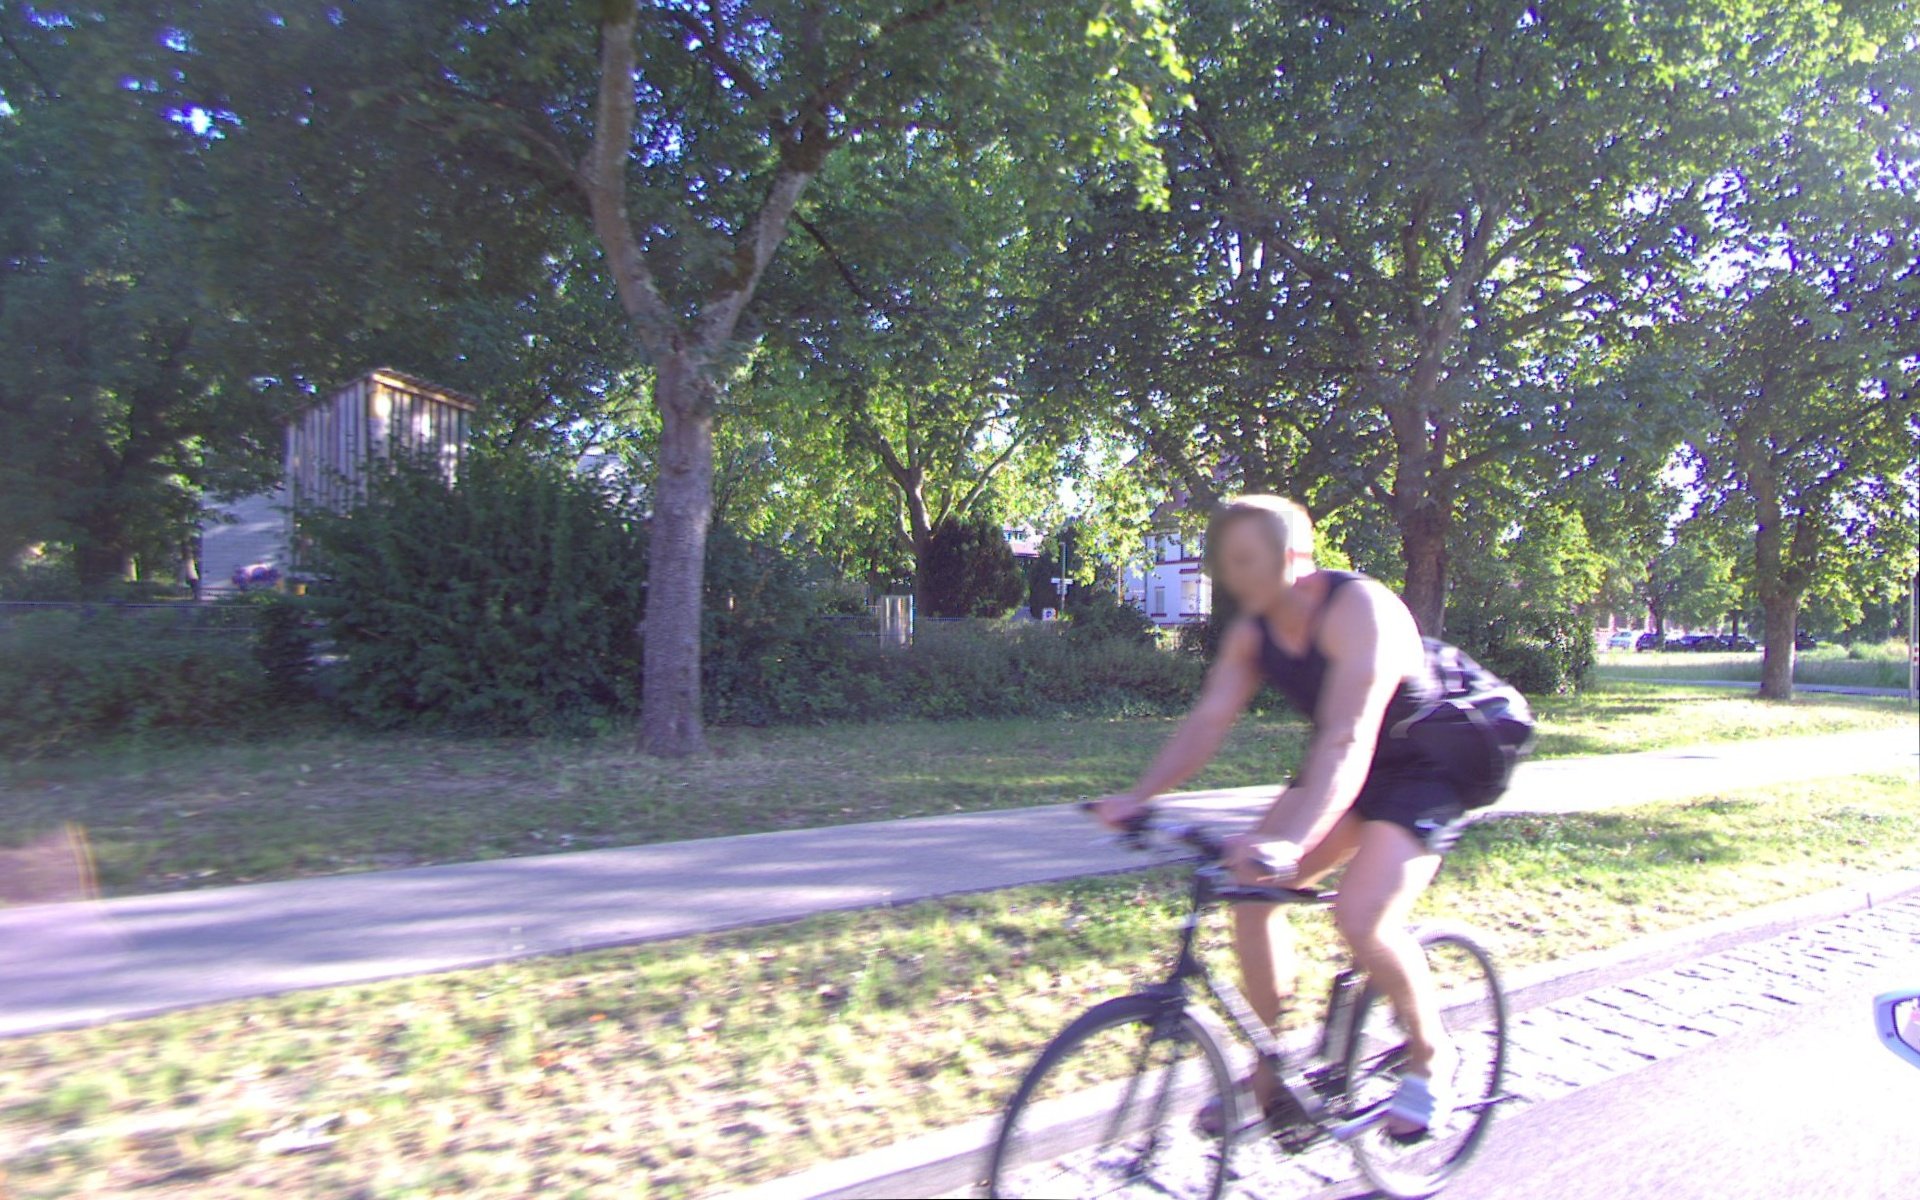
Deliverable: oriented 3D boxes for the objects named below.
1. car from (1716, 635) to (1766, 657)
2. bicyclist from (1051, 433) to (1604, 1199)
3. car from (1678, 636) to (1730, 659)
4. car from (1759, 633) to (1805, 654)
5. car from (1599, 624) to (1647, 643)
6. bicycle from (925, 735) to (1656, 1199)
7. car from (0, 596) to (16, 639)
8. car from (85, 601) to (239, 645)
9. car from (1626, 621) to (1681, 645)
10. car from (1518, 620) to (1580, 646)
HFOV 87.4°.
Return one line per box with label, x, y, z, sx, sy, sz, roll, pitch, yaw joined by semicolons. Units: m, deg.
car;60.913;3.552;78.306;4.173;1.619;1.684;2;-1;-31
bicyclist;0.903;0.564;2.446;1.159;1.694;0.678;2;-2;-31
car;55.643;3.549;75.135;4.173;1.619;1.684;2;-1;-31
car;68.973;3.639;84.240;4.173;1.619;1.684;2;-1;-31
car;53.195;2.681;80.561;3.954;1.424;1.621;2;0;-31
bicycle;0.882;0.905;2.396;1.893;1.045;0.553;2;-2;-31
car;-31.049;0.495;30.119;3.706;1.309;1.515;1;0;-29
car;-26.179;0.765;33.101;3.706;1.386;1.515;1;0;-29
car;50.172;2.374;72.675;4.173;1.619;1.684;2;-1;-31
car;38.343;2.141;65.341;4.173;1.619;1.684;2;-1;-31
